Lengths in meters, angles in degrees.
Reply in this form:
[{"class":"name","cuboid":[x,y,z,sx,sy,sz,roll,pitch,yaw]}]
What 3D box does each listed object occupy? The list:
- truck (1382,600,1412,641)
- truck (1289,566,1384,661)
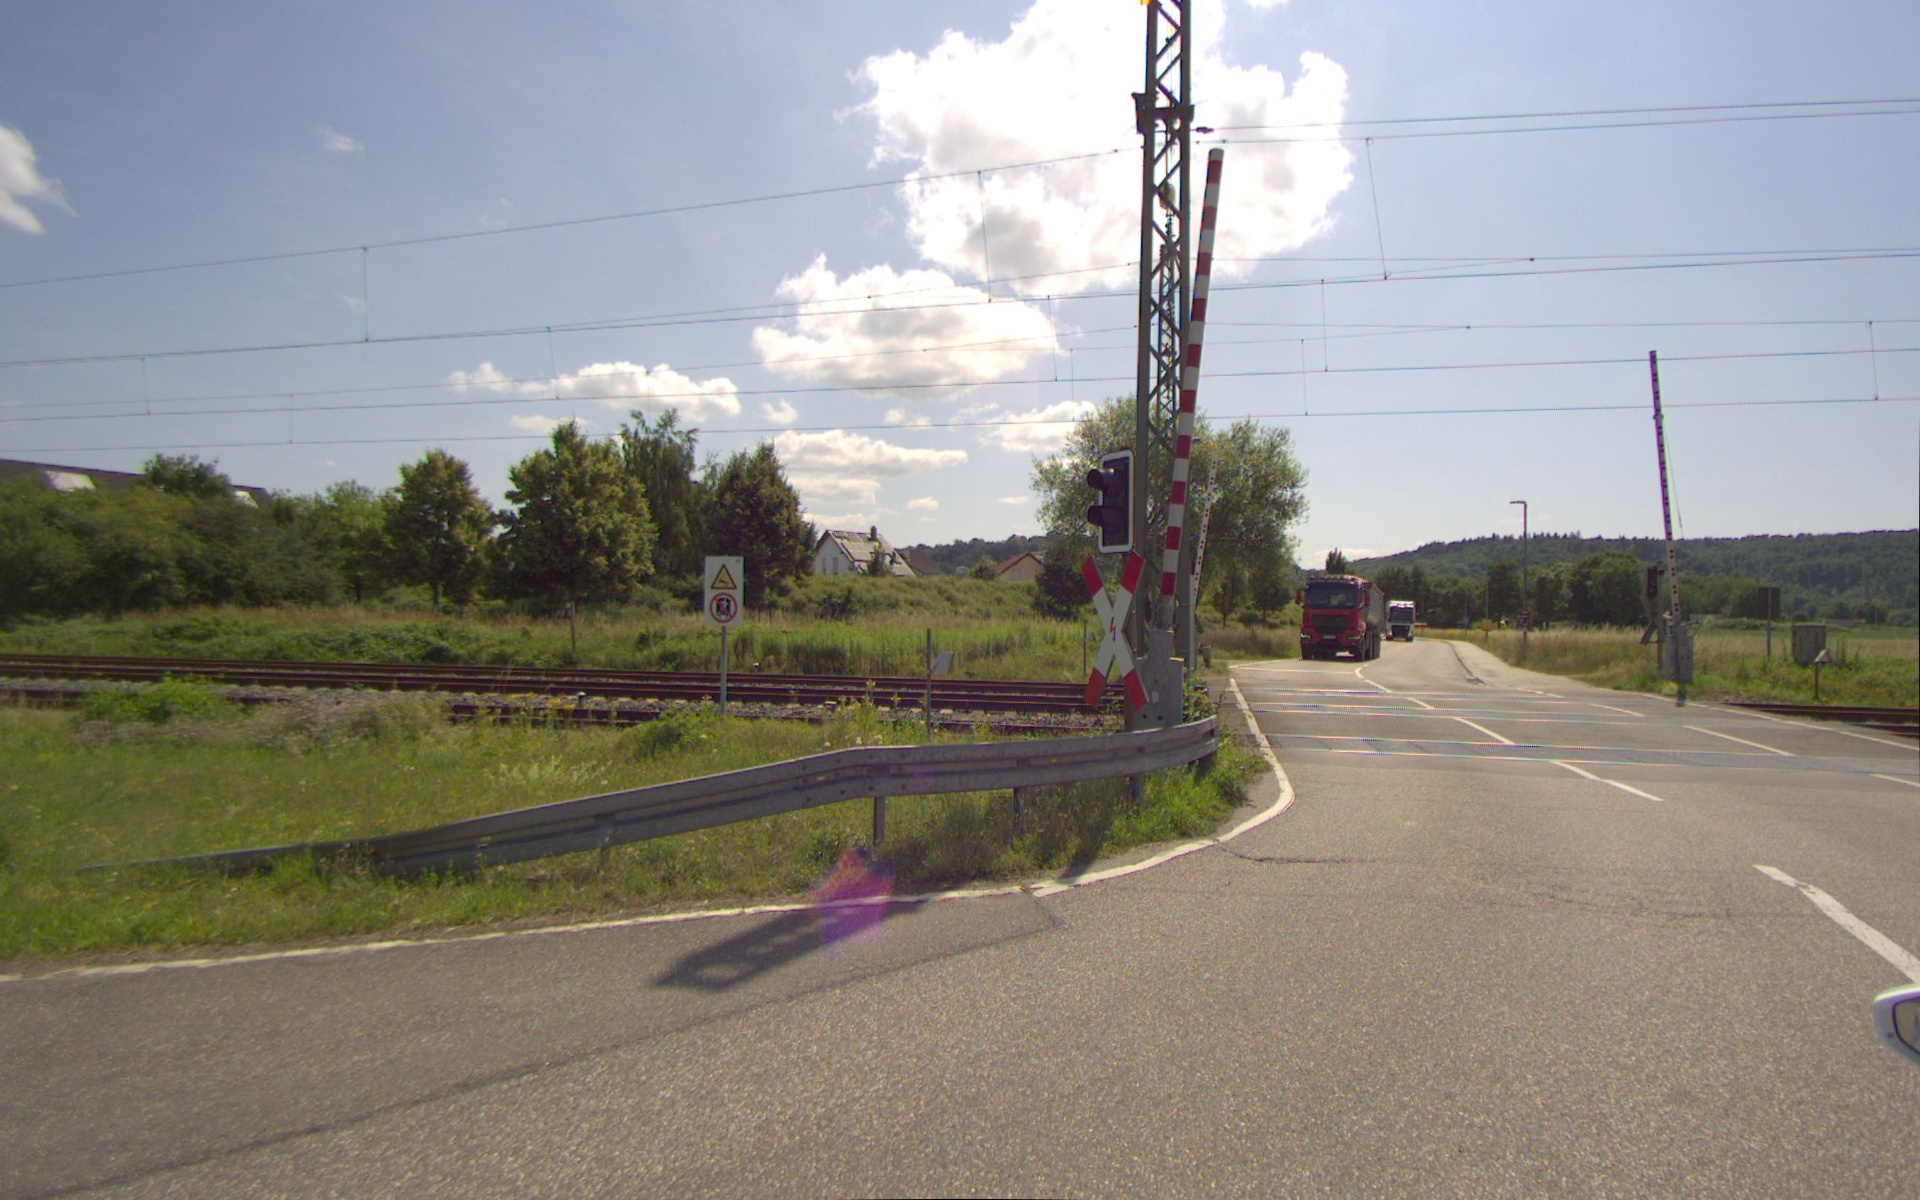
[{"class":"truck","cuboid":[44.438,2.078,101.985,2.531,4.001,6.033,0,-1,26]},{"class":"truck","cuboid":[17.468,0.660,45.965,2.828,3.795,12.136,1,-1,26]}]
